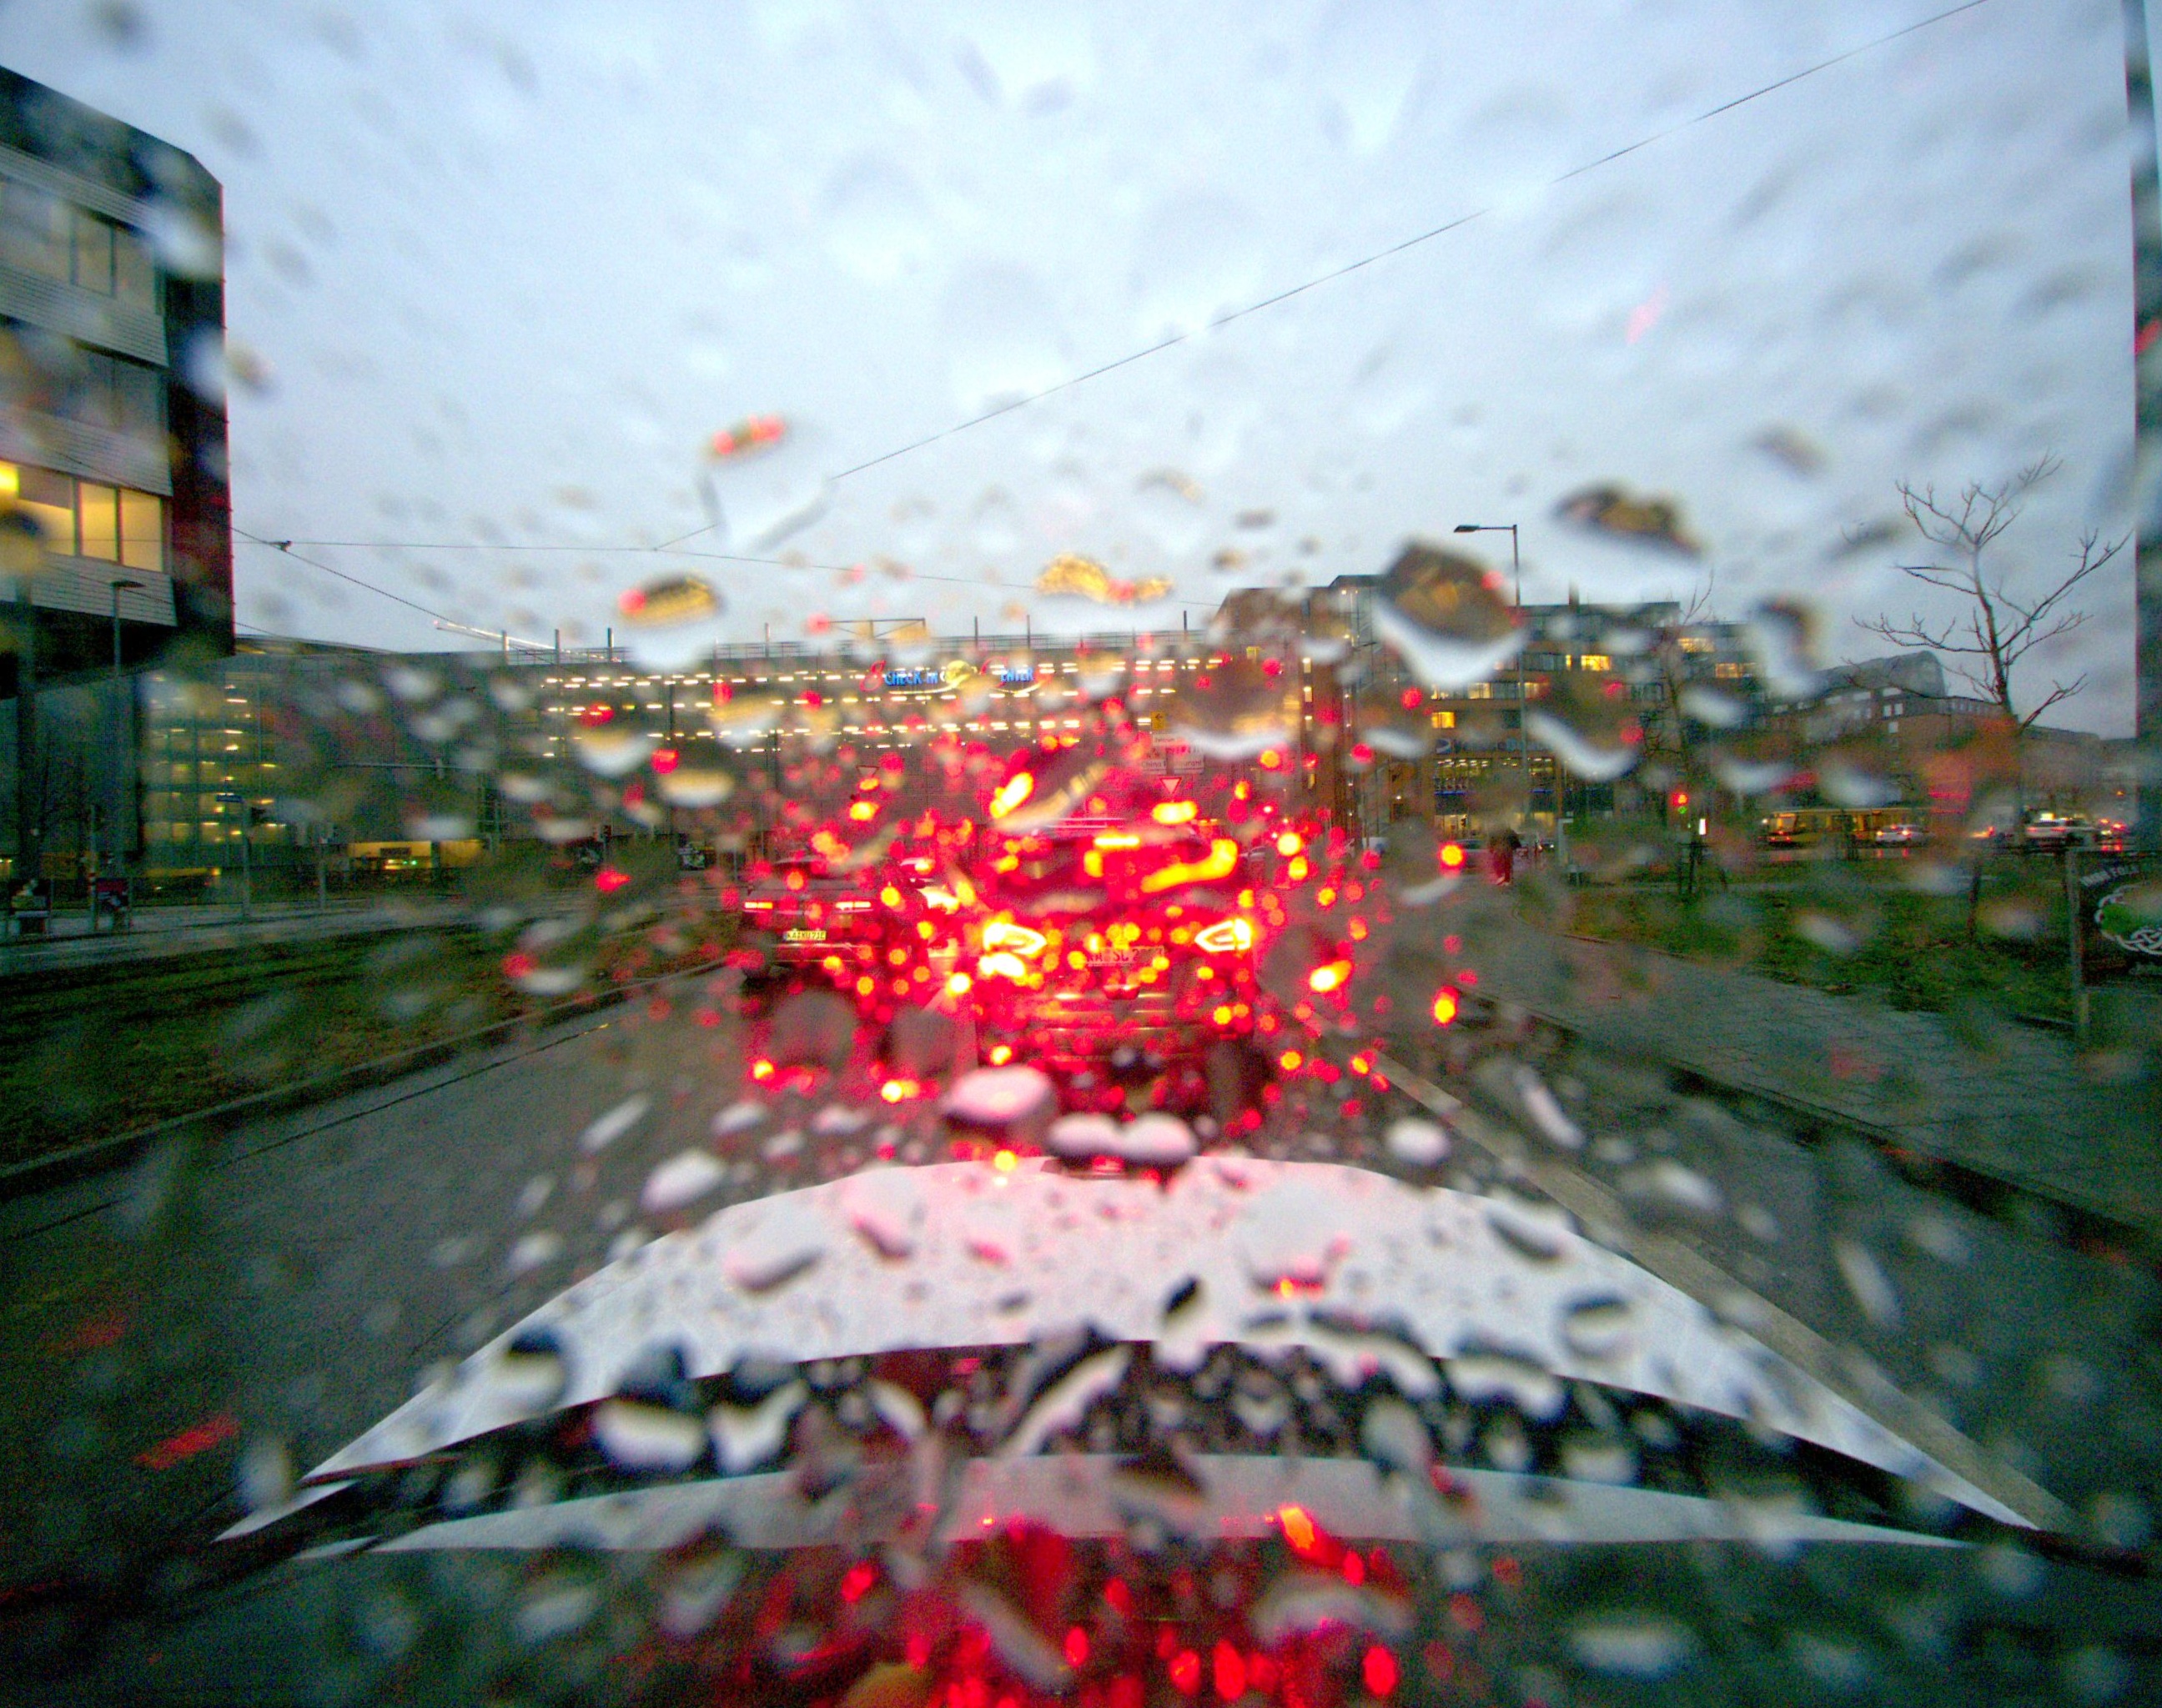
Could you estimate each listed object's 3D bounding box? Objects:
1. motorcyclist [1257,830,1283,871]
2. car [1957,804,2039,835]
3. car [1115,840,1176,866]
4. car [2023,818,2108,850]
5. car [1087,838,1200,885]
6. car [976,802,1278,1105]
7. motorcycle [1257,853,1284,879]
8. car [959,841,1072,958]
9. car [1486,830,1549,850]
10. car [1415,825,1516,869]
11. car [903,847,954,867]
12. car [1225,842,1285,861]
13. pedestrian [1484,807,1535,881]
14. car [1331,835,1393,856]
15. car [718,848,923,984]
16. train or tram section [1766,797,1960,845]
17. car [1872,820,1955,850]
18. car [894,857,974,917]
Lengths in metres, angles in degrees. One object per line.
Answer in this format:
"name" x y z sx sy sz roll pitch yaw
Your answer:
"motorcyclist" 7.329 -0.134 31.634 0.863 1.534 1.110 -2 0 7
"car" 64.445 -2.415 57.254 4.945 2.013 1.989 0 0 -17
"car" 5.426 -0.056 68.494 4.831 2.000 1.797 -2 0 -5
"car" 65.969 -1.331 54.584 4.362 2.013 1.990 0 0 -15
"car" 2.710 0.325 36.040 4.665 1.851 1.827 -2 -1 -8
"car" 0.258 0.570 6.823 1.730 1.738 4.246 1 0 0
"motorcycle" 7.341 0.461 31.617 0.848 0.972 1.585 -2 0 7
"car" -1.038 0.669 13.776 1.632 1.697 3.667 -1 0 -3
"car" 36.806 -1.206 68.728 4.425 1.534 1.796 -2 0 -6
"car" 18.623 -0.355 39.550 3.987 1.874 1.994 -3 1 -10
"car" -12.718 0.260 68.118 3.978 1.618 1.736 1 0 -4
"car" 14.134 -0.226 66.278 4.413 1.390 1.796 -2 0 -6
"pedestrian" 11.531 -0.271 21.953 1.159 1.924 0.904 1 0 25
"car" 22.876 -0.668 66.464 4.413 1.595 1.796 -2 0 -6
"car" -3.496 0.740 11.748 1.748 1.574 3.997 -2 0 -2
"train or tram section" 61.162 -2.584 63.559 16.626 3.260 2.326 -2 0 -14
"car" 56.674 -1.266 55.483 3.985 2.013 1.994 0 0 -9
"car" -3.453 0.723 19.717 1.538 1.251 4.059 -1 0 -6
